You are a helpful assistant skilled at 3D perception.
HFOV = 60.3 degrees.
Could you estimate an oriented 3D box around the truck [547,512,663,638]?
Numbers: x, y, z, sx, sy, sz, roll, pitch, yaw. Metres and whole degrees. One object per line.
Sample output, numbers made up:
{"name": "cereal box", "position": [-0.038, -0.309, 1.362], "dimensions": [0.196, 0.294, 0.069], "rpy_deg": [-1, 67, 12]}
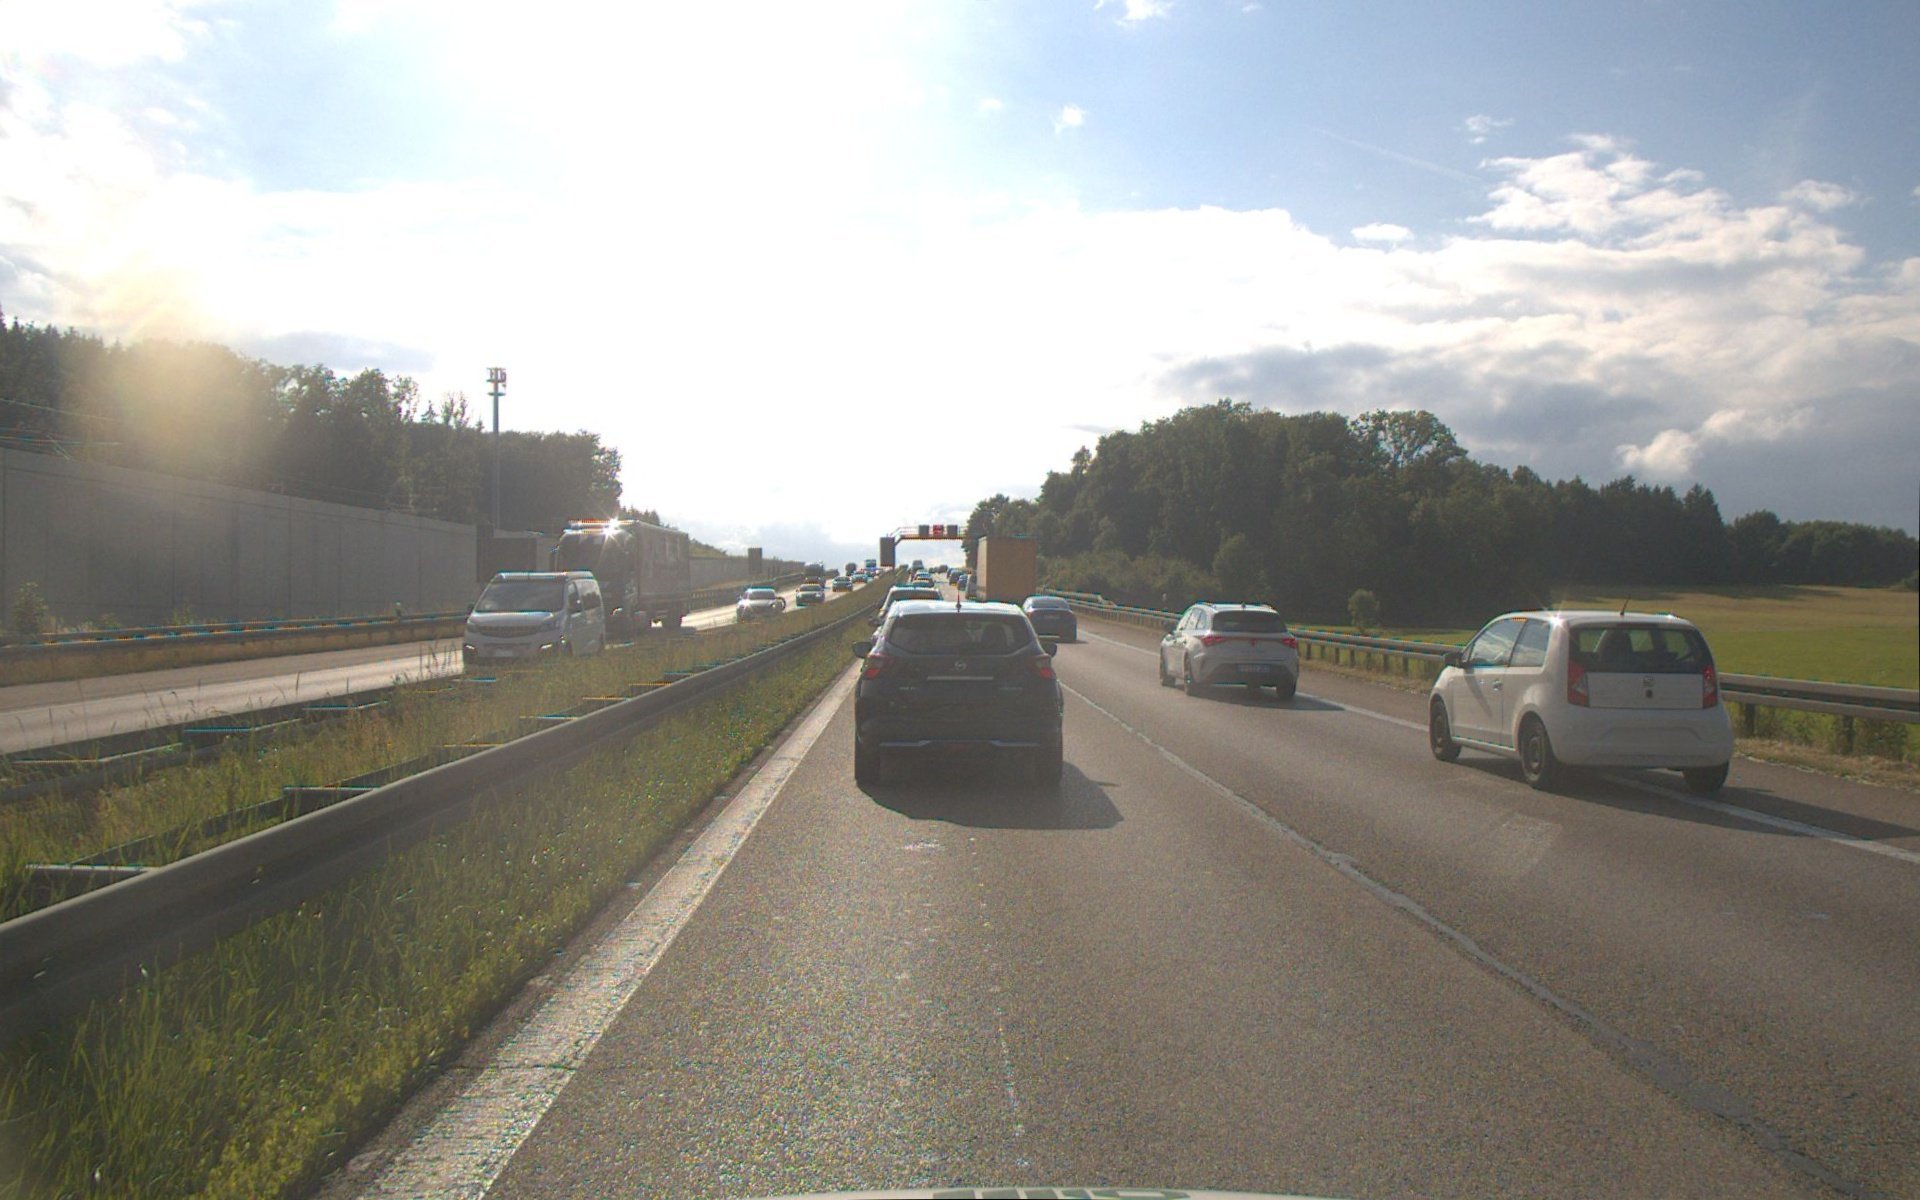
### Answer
{"name": "truck", "position": [-12.423, -0.815, 58.496], "dimensions": [2.698, 4.162, 6.951], "rpy_deg": [0, -1, -1]}

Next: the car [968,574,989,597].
{"name": "car", "position": [1.471, -1.137, 133.055], "dimensions": [1.633, 1.785, 3.327], "rpy_deg": [1, -1, 0]}

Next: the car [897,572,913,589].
{"name": "car", "position": [-6.816, -2.378, 205.093], "dimensions": [1.953, 2.049, 3.998], "rpy_deg": [1, 0, -2]}

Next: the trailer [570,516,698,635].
{"name": "trailer", "position": [-12.535, -0.807, 64.922], "dimensions": [2.703, 4.187, 12.900], "rpy_deg": [0, 0, -1]}

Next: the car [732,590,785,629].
{"name": "car", "position": [-9.014, 0.439, 74.371], "dimensions": [1.850, 1.660, 5.109], "rpy_deg": [1, 0, -1]}

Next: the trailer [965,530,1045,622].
{"name": "trailer", "position": [2.260, -1.143, 88.621], "dimensions": [3.477, 4.535, 12.717], "rpy_deg": [1, 0, -2]}

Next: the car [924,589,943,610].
{"name": "car", "position": [-2.297, -0.041, 144.468], "dimensions": [1.633, 1.785, 3.327], "rpy_deg": [1, -1, 0]}

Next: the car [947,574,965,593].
{"name": "car", "position": [-0.480, -1.809, 187.395], "dimensions": [1.953, 2.049, 3.998], "rpy_deg": [1, 0, -2]}

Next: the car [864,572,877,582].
{"name": "car", "position": [-13.262, -3.389, 246.201], "dimensions": [1.816, 1.458, 4.447], "rpy_deg": [0, 0, -2]}

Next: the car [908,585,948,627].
{"name": "car", "position": [-1.678, 0.312, 85.373], "dimensions": [1.953, 2.049, 3.998], "rpy_deg": [1, 0, -2]}

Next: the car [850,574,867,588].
{"name": "car", "position": [-12.702, -2.418, 206.589], "dimensions": [1.953, 1.621, 4.447], "rpy_deg": [1, 0, -2]}

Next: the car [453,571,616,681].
{"name": "car", "position": [-8.153, 0.489, 32.117], "dimensions": [1.953, 1.916, 4.786], "rpy_deg": [-2, 0, -1]}

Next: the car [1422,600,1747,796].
{"name": "car", "position": [5.489, 0.790, 14.963], "dimensions": [1.518, 1.521, 3.376], "rpy_deg": [1, 0, -3]}

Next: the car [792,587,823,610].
{"name": "car", "position": [-10.478, -0.082, 113.752], "dimensions": [1.864, 1.490, 4.182], "rpy_deg": [1, 0, -2]}

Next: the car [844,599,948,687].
{"name": "car", "position": [-1.044, 0.700, 28.392], "dimensions": [1.640, 1.391, 3.595], "rpy_deg": [1, -1, 0]}

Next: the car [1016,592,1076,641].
{"name": "car", "position": [2.780, 0.529, 54.047], "dimensions": [1.711, 1.501, 4.146], "rpy_deg": [1, -1, 0]}

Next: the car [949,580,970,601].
{"name": "car", "position": [-0.028, -0.907, 166.473], "dimensions": [1.953, 2.049, 3.998], "rpy_deg": [1, 0, -2]}

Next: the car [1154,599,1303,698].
{"name": "car", "position": [4.309, 0.753, 27.127], "dimensions": [1.588, 1.471, 4.144], "rpy_deg": [1, -1, -3]}

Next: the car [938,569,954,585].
{"name": "car", "position": [-1.943, -3.192, 226.974], "dimensions": [1.953, 2.049, 3.998], "rpy_deg": [1, 0, -2]}

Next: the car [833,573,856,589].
{"name": "car", "position": [-10.856, -1.783, 156.086], "dimensions": [1.953, 1.458, 4.447], "rpy_deg": [1, 0, -2]}

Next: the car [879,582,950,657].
{"name": "car", "position": [-1.086, 0.472, 40.957], "dimensions": [1.640, 1.756, 3.595], "rpy_deg": [1, -1, 0]}

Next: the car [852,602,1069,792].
{"name": "car", "position": [0.013, 0.769, 14.549], "dimensions": [1.675, 1.451, 3.378], "rpy_deg": [1, -1, 0]}

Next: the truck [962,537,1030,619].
{"name": "truck", "position": [2.012, -1.201, 95.389], "dimensions": [3.510, 4.456, 6.685], "rpy_deg": [1, -1, -2]}
